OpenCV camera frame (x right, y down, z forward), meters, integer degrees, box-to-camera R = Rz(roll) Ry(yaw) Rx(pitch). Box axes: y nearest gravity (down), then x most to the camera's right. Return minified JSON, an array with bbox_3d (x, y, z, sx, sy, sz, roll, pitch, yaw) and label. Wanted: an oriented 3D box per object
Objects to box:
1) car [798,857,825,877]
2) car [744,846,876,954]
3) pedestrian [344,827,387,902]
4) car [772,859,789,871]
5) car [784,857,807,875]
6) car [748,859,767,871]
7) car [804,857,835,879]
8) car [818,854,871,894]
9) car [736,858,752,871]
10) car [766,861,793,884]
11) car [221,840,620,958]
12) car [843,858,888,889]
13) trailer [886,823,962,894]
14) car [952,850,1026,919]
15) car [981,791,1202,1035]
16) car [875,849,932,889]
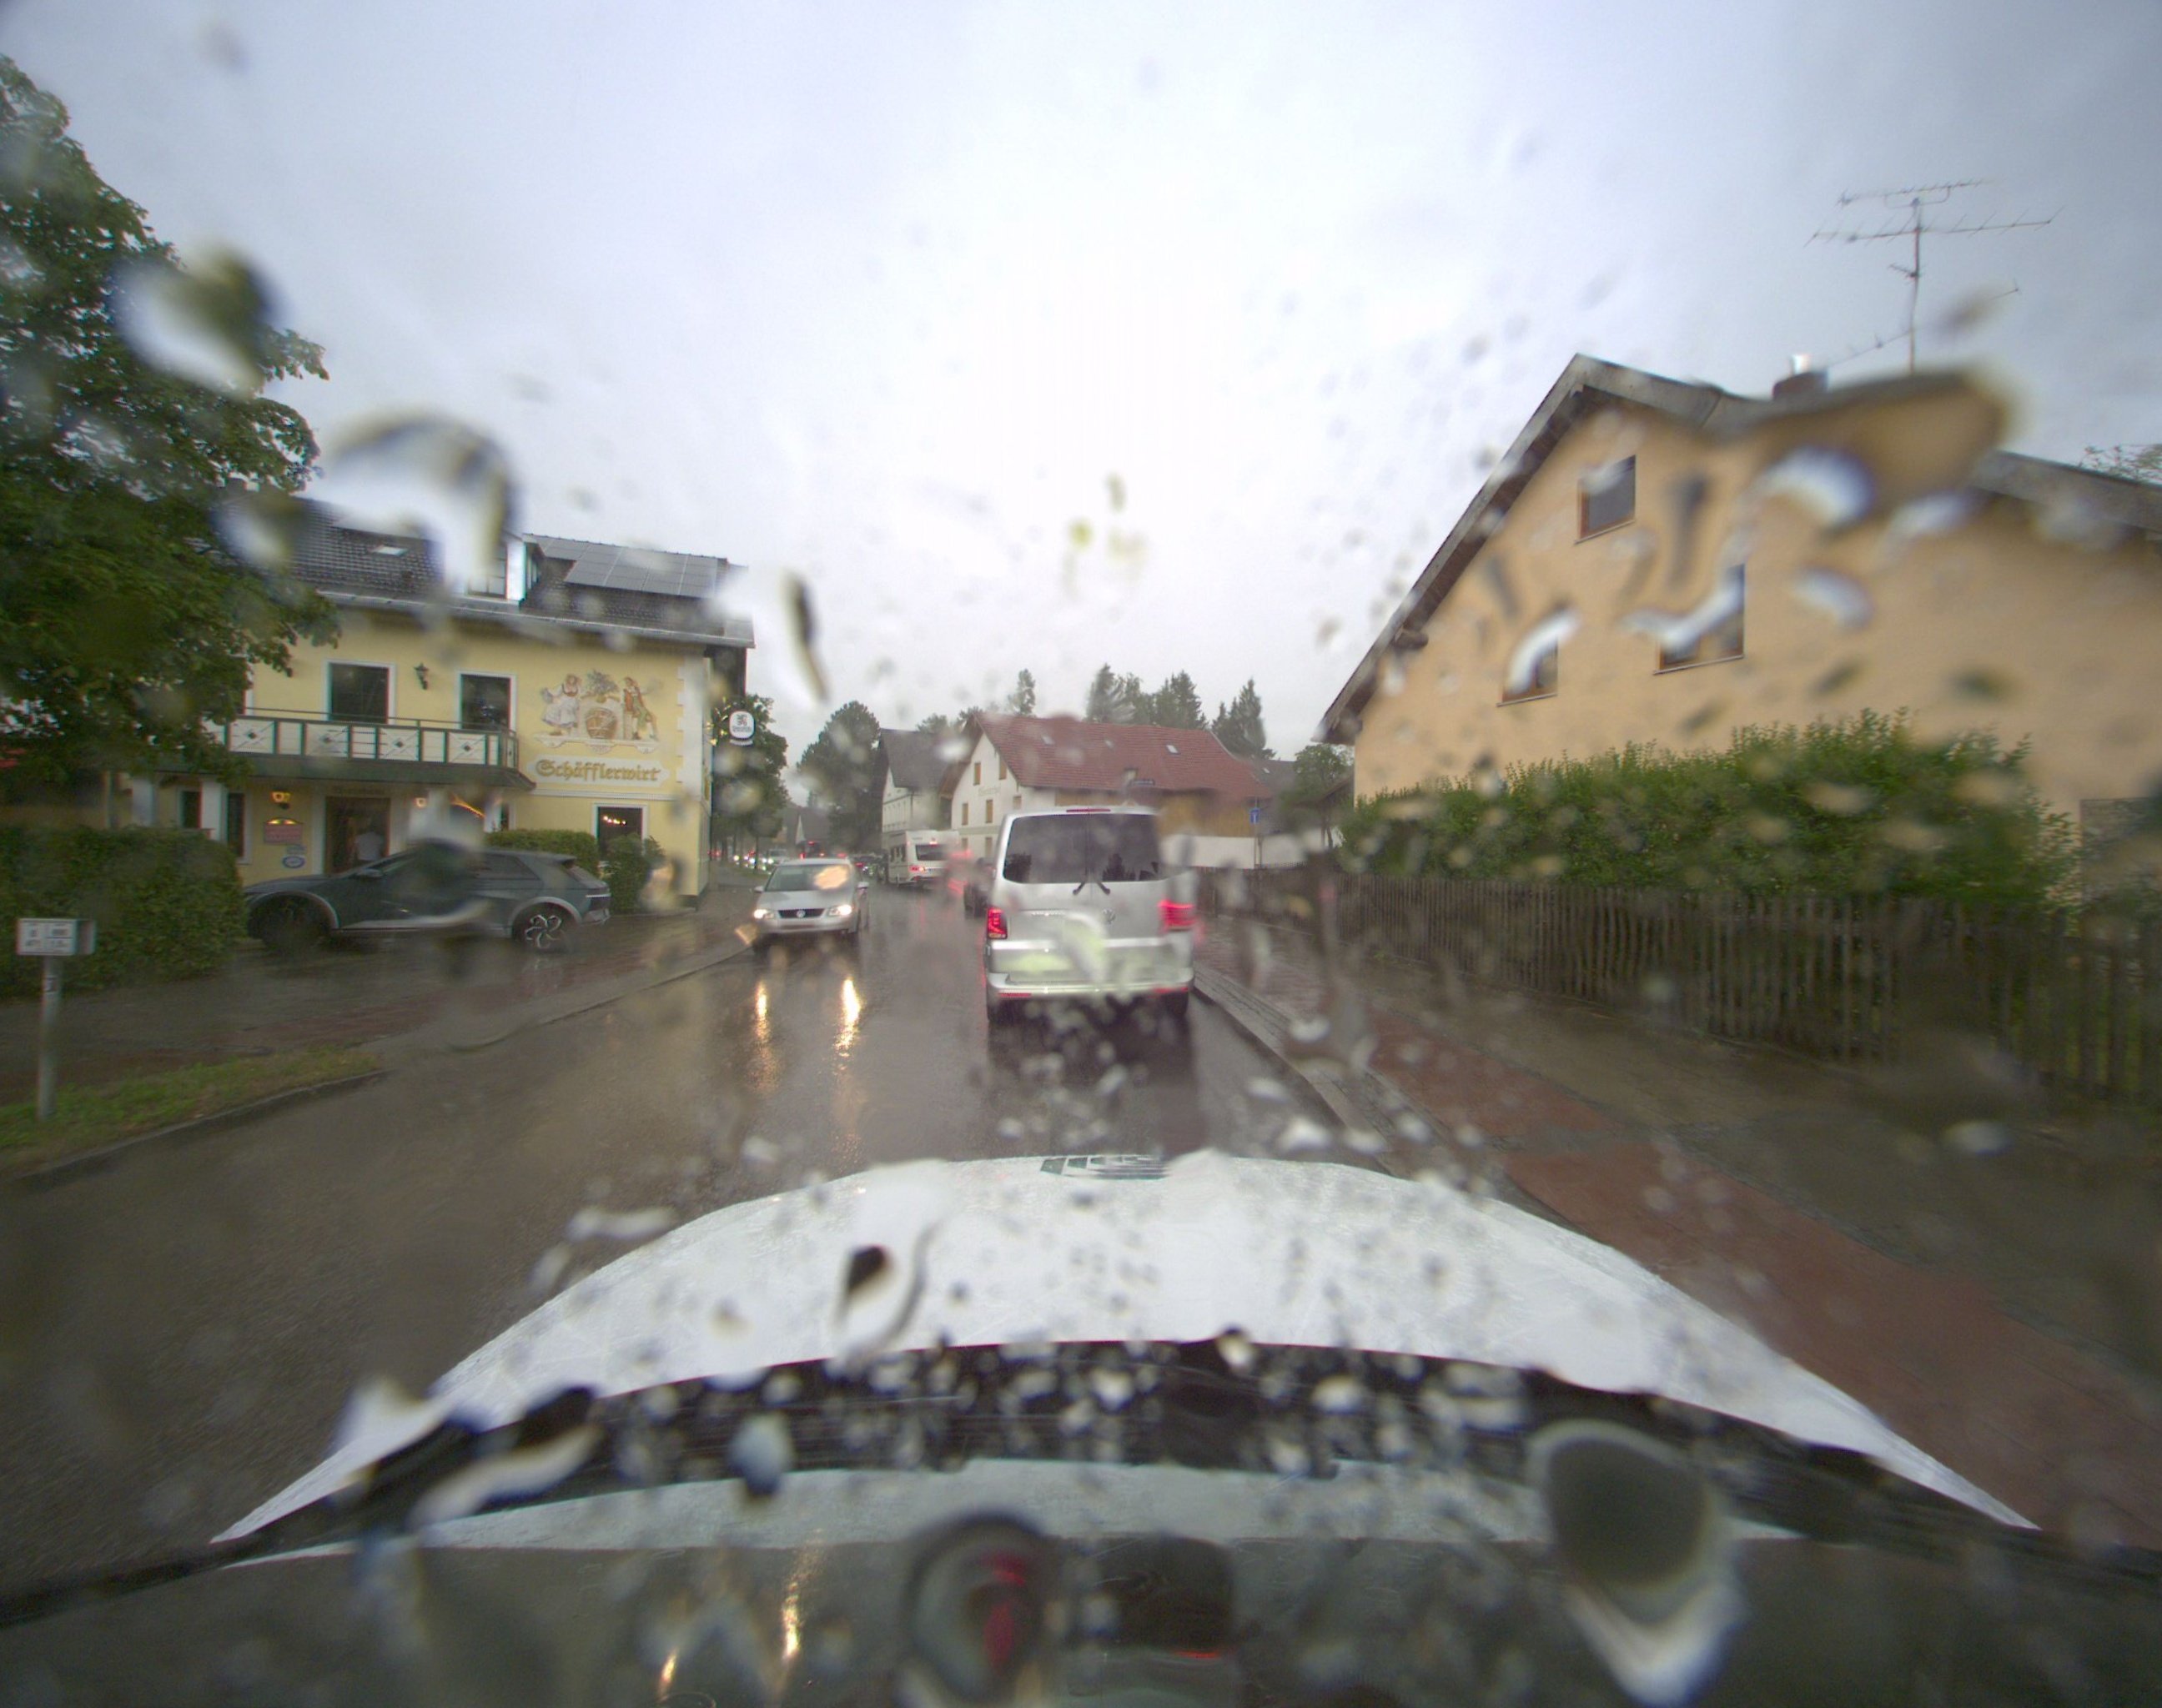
[{"bbox_3d":[-28.113,1.355,84.770,2.179,1.899,4.975,1,0,-24],"label":"car"},{"bbox_3d":[-4.873,0.764,15.159,1.754,1.677,3.985,-2,0,-11],"label":"car"},{"bbox_3d":[-16.625,0.247,18.927,0.492,1.690,0.550,3,-1,-20],"label":"pedestrian"},{"bbox_3d":[-48.890,1.770,132.481,2.179,1.899,4.975,1,0,-24],"label":"car"},{"bbox_3d":[-33.096,1.384,94.329,2.179,1.899,4.975,1,0,-24],"label":"car"},{"bbox_3d":[-38.891,1.286,97.829,1.871,1.359,4.448,-2,1,-24],"label":"car"},{"bbox_3d":[-23.811,1.244,74.120,2.179,1.899,4.975,1,0,-24],"label":"car"},{"bbox_3d":[-10.231,0.850,35.132,1.595,1.610,3.508,-1,0,-26],"label":"car"},{"bbox_3d":[-47.368,1.447,114.526,1.870,1.758,4.449,-3,1,-22],"label":"car"},{"bbox_3d":[-27.612,1.681,74.488,1.860,1.971,4.663,-1,-1,-25],"label":"car"},{"bbox_3d":[-9.984,0.722,12.862,4.498,1.567,1.824,3,0,-26],"label":"car"},{"bbox_3d":[-14.607,1.274,54.997,2.179,1.899,4.975,1,0,-24],"label":"car"},{"bbox_3d":[-7.163,0.205,36.587,2.279,2.904,6.089,-1,0,-21],"label":"trailer"},{"bbox_3d":[-2.600,0.724,22.075,1.708,1.584,4.670,-2,1,-9],"label":"car"},{"bbox_3d":[0.075,0.490,9.215,1.771,1.963,5.072,-1,0,0],"label":"car"},{"bbox_3d":[-9.187,0.732,41.828,2.061,1.899,5.139,-1,0,-21],"label":"car"}]
